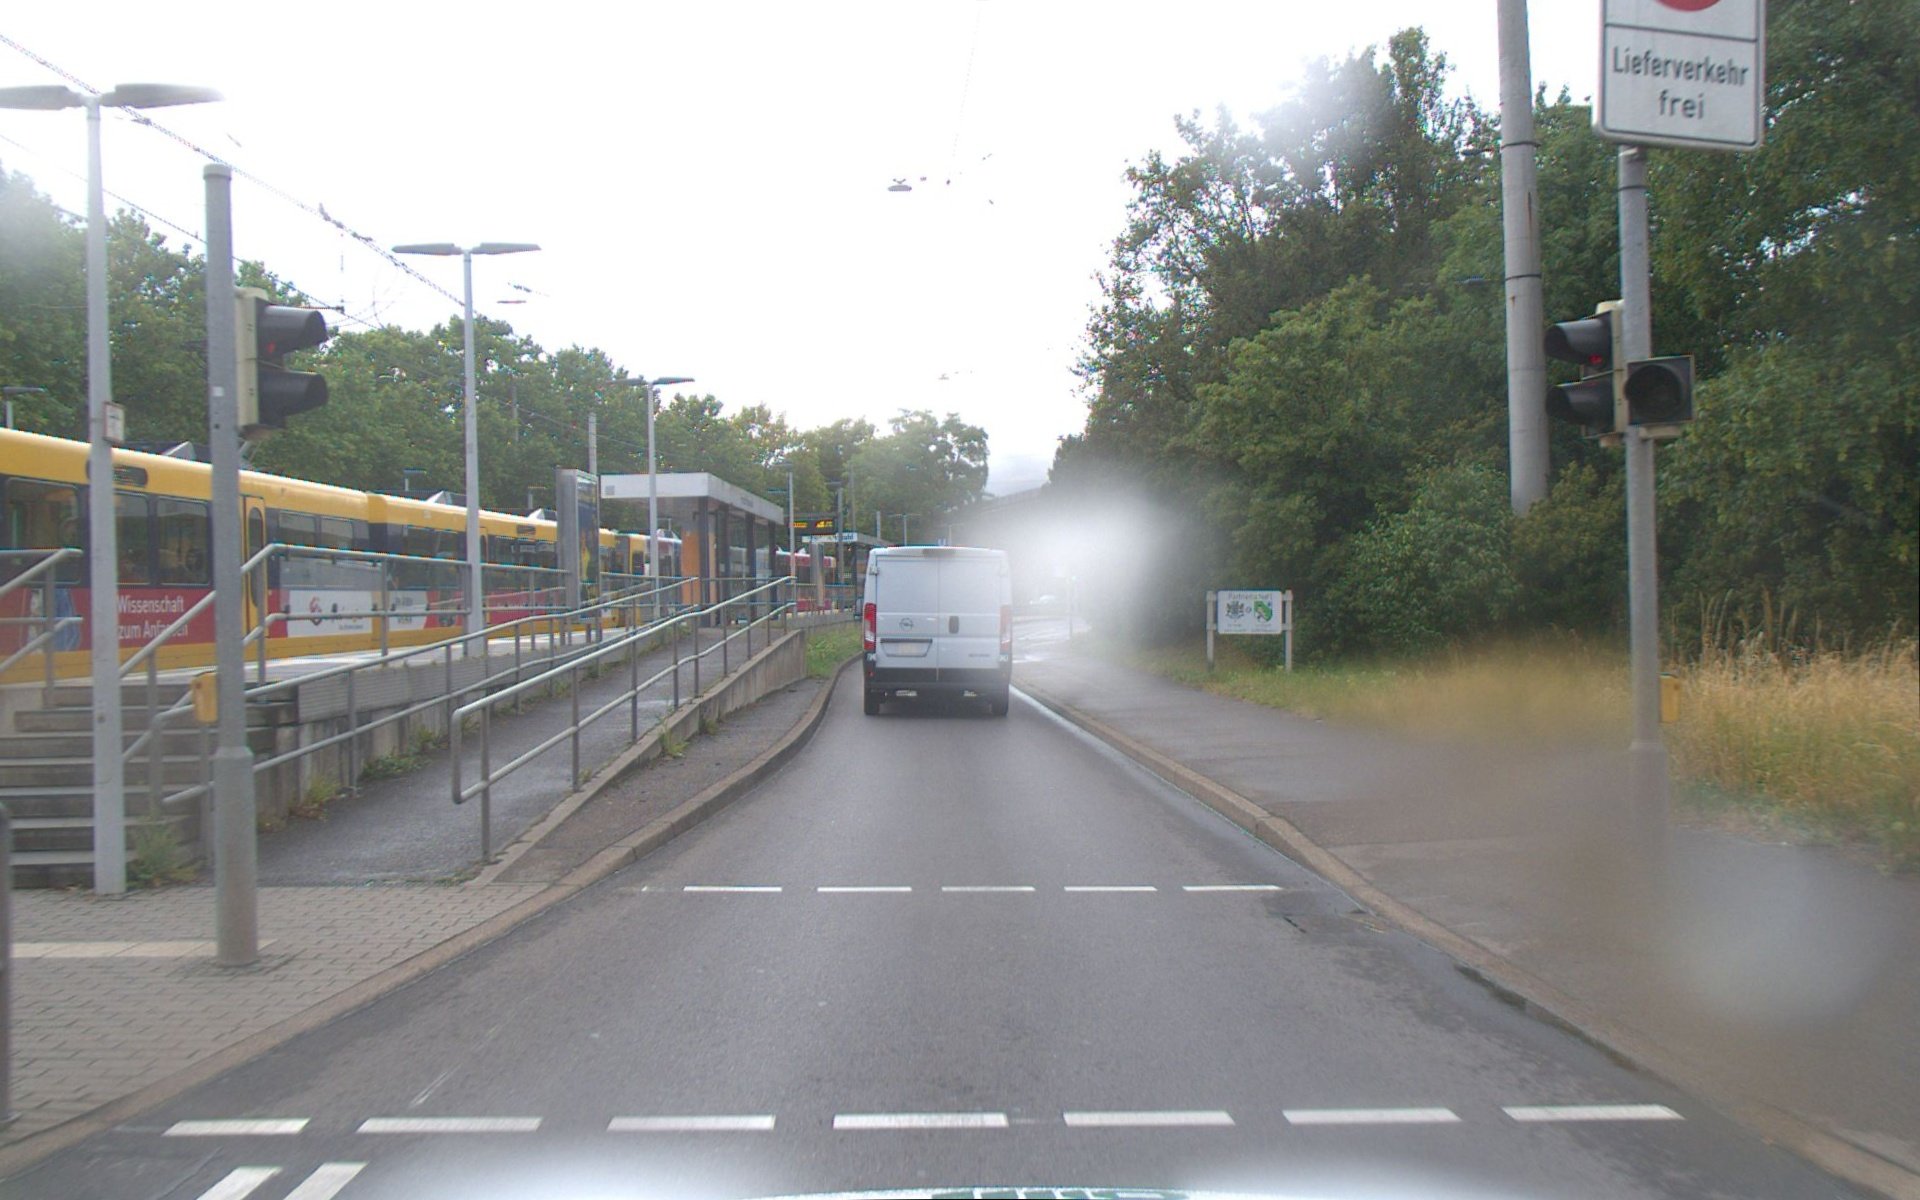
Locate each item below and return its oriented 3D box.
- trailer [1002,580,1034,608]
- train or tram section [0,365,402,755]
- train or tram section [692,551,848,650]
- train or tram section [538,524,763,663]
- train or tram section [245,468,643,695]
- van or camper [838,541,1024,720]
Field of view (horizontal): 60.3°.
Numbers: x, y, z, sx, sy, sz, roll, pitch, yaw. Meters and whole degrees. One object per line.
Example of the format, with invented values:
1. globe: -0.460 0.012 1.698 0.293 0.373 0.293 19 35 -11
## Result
1. trailer: 5.870 -0.606 168.561 1.963 2.773 4.102 0 -1 -18
2. train or tram section: -11.369 -0.408 19.923 2.809 4.042 19.327 1 -1 0
3. train or tram section: -8.508 0.143 78.011 2.807 4.030 19.344 1 -1 7
4. train or tram section: -10.331 -0.080 58.665 2.807 4.040 19.340 1 -1 4
5. train or tram section: -11.113 -0.230 39.355 2.808 4.023 19.333 1 -1 2
6. van or camper: -0.542 0.422 23.901 2.157 2.292 4.676 1 -1 -7
